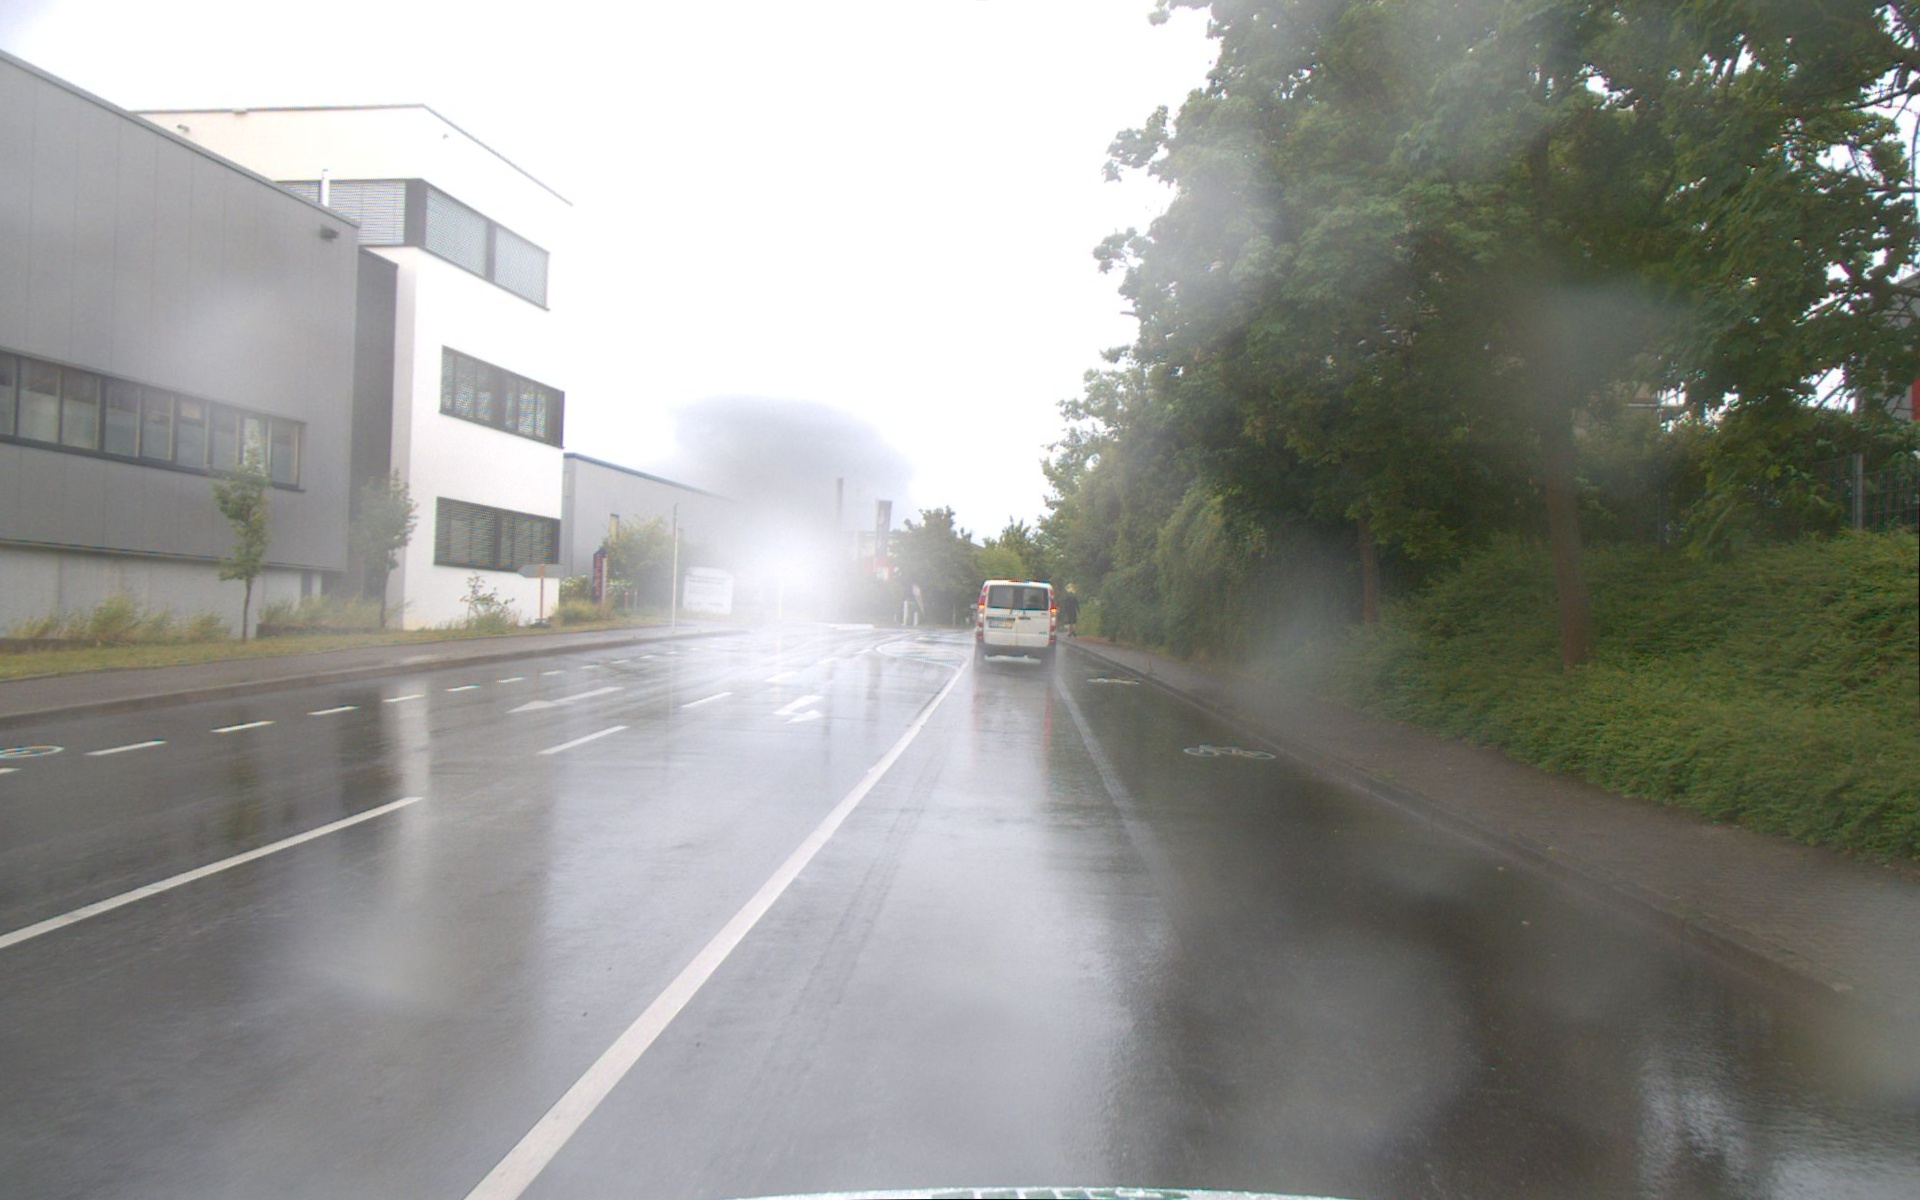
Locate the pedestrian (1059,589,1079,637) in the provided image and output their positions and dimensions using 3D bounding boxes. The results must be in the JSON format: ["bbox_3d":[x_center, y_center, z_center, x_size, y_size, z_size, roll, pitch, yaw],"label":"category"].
[{"bbox_3d":[4.411,0.534,66.972,0.761,1.940,0.728,-1,-1,0],"label":"pedestrian"}]

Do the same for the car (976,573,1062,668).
[{"bbox_3d":[1.373,0.452,38.753,1.859,2.053,5.374,-1,0,2],"label":"car"}]
